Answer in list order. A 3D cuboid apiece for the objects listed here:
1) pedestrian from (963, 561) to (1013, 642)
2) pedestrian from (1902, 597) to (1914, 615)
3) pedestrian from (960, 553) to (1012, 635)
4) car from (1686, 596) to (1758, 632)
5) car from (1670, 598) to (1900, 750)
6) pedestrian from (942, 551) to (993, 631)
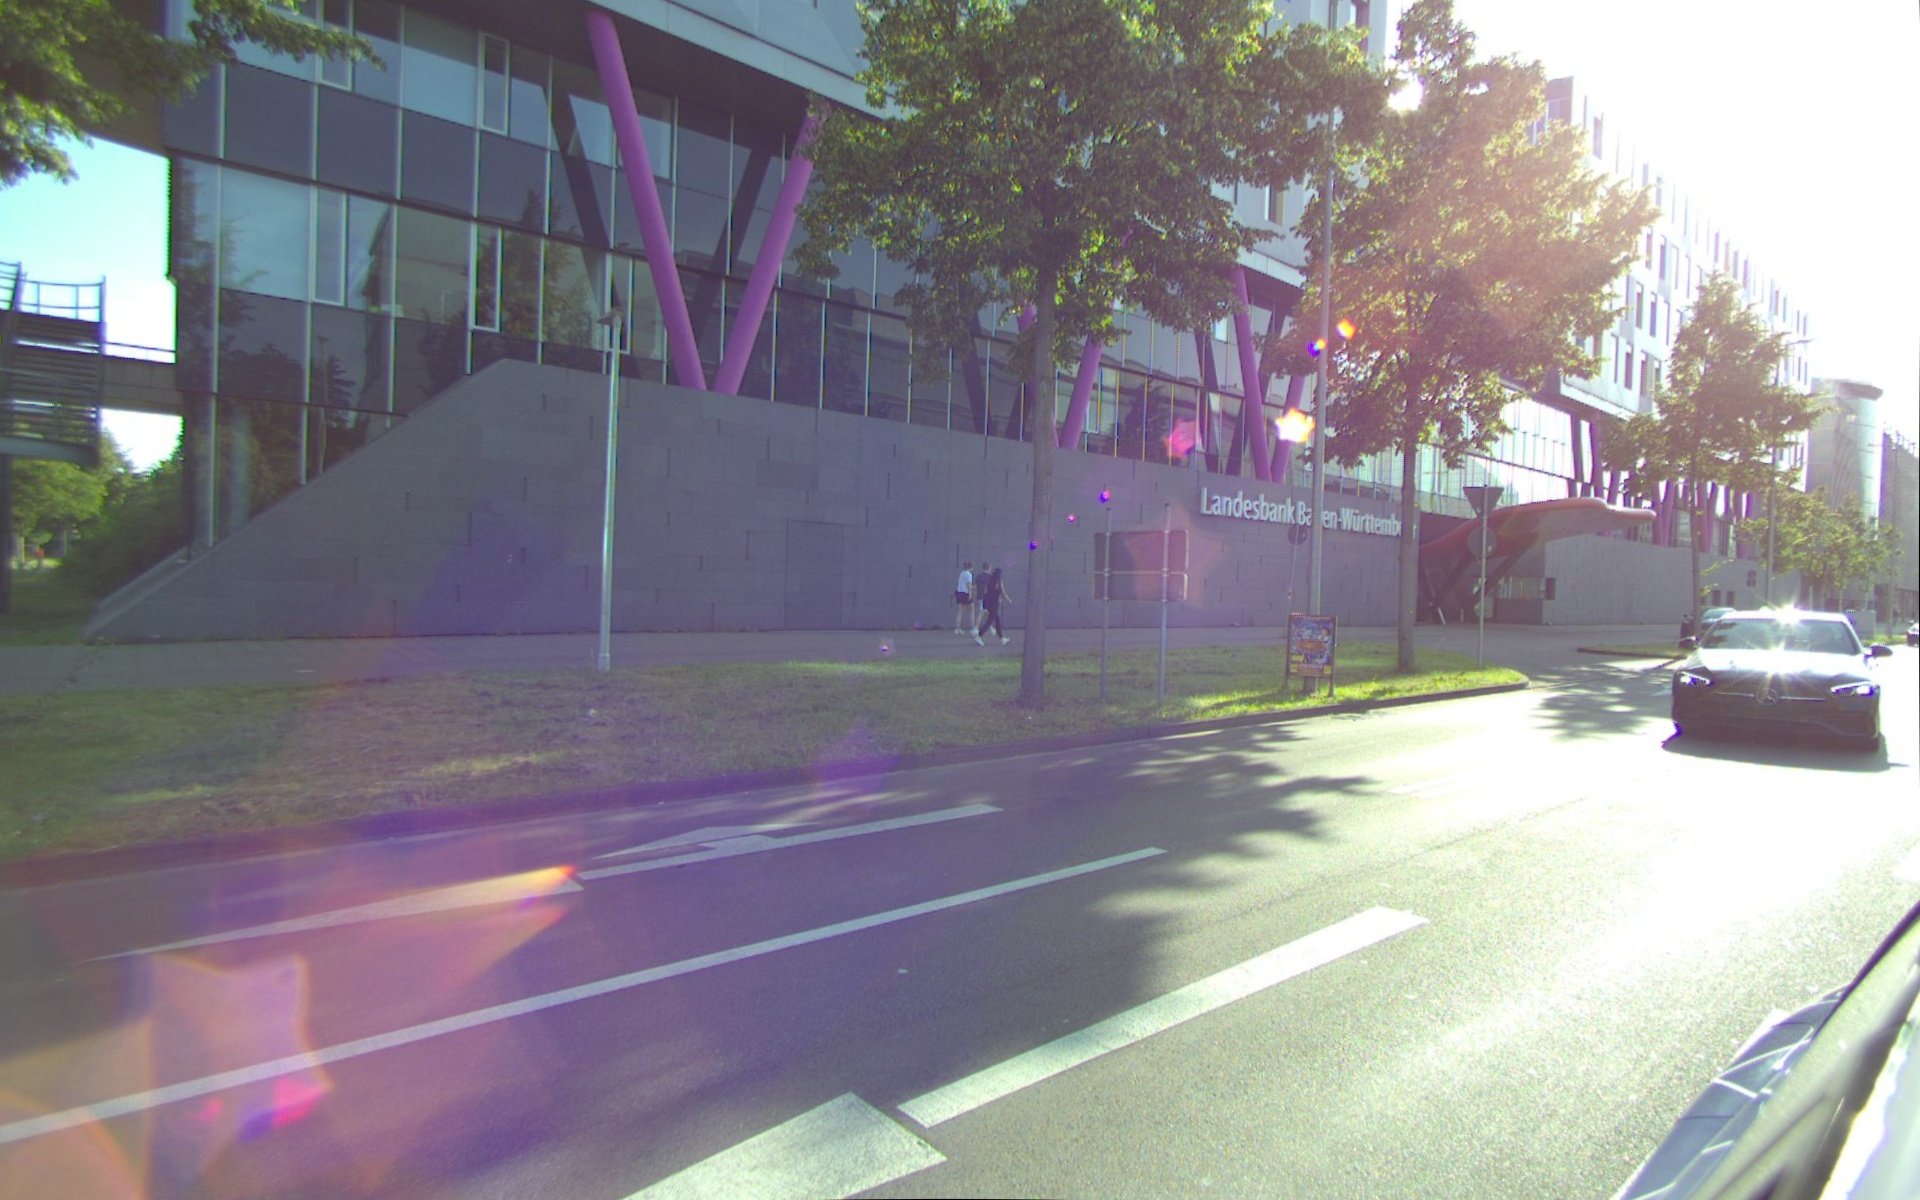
[{"bbox_3d":[0.583,0.024,21.207,0.724,1.659,0.695,1,1,-41],"label":"pedestrian"},{"bbox_3d":[92.263,0.585,98.524,0.758,1.808,0.725,1,1,-41],"label":"pedestrian"},{"bbox_3d":[0.601,-0.145,23.487,0.829,1.815,0.756,1,3,-41],"label":"pedestrian"},{"bbox_3d":[33.110,0.610,43.916,4.126,1.407,1.694,1,1,-42],"label":"car"},{"bbox_3d":[10.097,0.755,12.244,1.839,1.468,4.484,1,0,43],"label":"car"},{"bbox_3d":[0.186,-0.218,24.060,0.838,1.847,0.769,1,3,-41],"label":"pedestrian"}]
